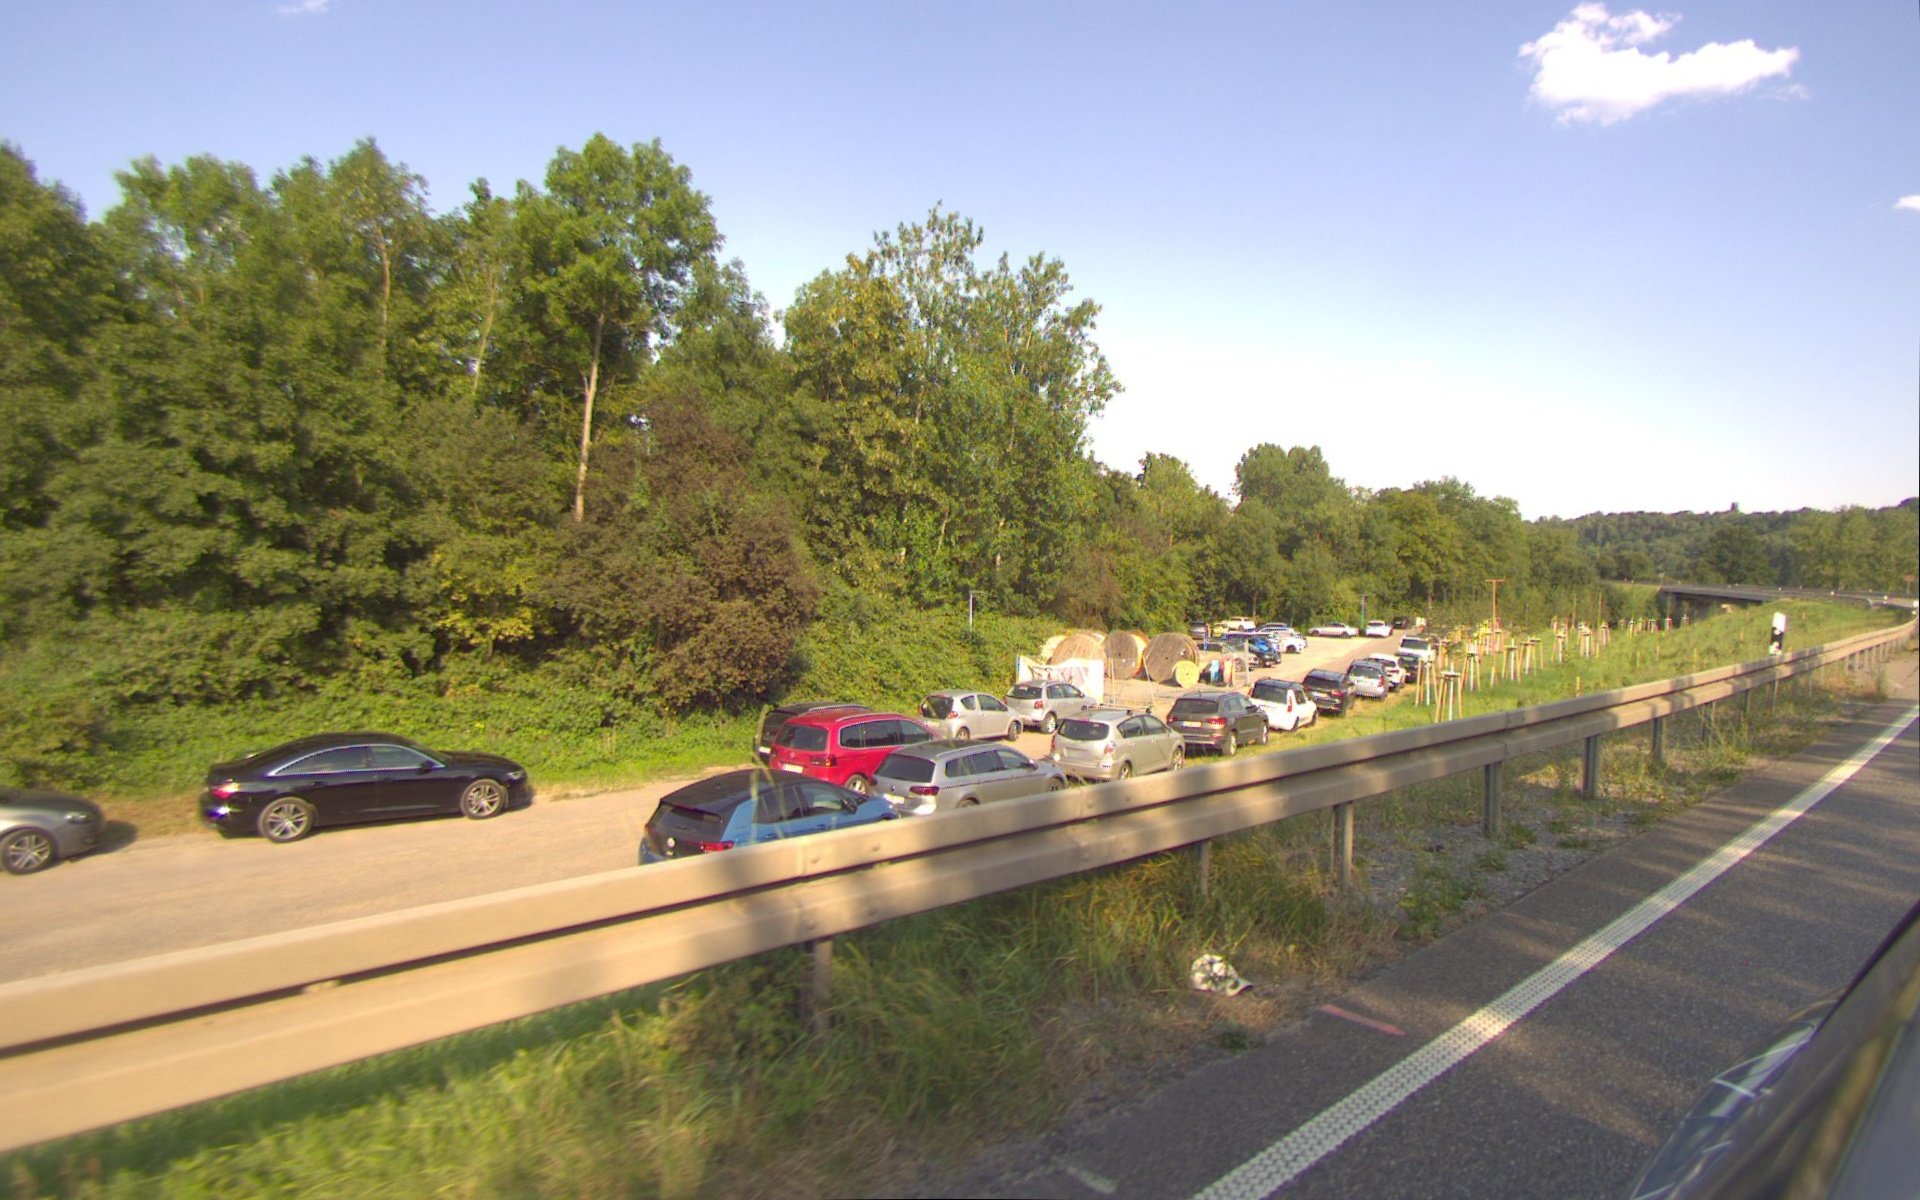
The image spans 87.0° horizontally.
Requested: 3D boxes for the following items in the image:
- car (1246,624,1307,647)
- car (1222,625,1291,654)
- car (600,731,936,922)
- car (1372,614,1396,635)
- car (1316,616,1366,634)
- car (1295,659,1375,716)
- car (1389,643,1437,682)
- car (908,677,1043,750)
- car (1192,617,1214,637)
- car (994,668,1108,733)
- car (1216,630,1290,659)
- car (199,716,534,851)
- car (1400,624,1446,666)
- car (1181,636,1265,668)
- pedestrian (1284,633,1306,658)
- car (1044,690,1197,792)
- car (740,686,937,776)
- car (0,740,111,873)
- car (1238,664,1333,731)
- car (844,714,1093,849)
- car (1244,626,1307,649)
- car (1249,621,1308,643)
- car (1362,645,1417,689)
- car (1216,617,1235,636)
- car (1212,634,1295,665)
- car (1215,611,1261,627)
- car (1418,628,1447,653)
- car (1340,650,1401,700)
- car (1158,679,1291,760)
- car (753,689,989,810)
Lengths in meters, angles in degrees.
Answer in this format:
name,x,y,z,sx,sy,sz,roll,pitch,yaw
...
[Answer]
name,x,y,z,sx,sy,sz,roll,pitch,yaw
car,23.305,2.598,74.515,4.197,1.474,1.606,0,1,22
car,19.561,2.599,66.848,4.199,1.764,1.819,0,0,23
car,-2.582,3.071,14.746,1.888,1.578,4.718,6,3,36
car,41.028,2.324,97.947,1.645,1.687,4.662,2,2,28
car,35.568,2.319,94.497,4.209,1.474,1.601,3,1,28
car,14.124,3.221,37.978,1.884,1.578,4.730,5,2,31
car,23.377,3.172,52.090,1.881,1.500,4.736,5,2,27
car,0.499,3.113,28.421,1.700,1.415,3.888,5,4,40
car,20.605,2.256,85.677,1.595,1.474,4.224,2,1,17
car,2.904,3.071,31.611,1.698,1.528,3.891,2,2,38
car,18.322,2.759,63.339,4.207,1.624,1.816,0,1,28
car,-9.926,2.969,17.157,4.698,1.415,1.706,0,4,-39
car,27.584,2.630,60.184,2.107,2.042,5.327,5,2,27
car,14.572,2.840,56.114,4.209,1.508,1.815,1,1,29
pedestrian,21.044,2.854,63.578,0.870,1.489,0.923,2,2,-28
car,3.837,3.137,23.469,1.883,1.579,4.730,1,1,31
car,-2.815,3.056,24.330,1.702,1.415,4.710,5,4,43
car,-14.116,2.882,13.633,4.029,1.415,1.705,2,3,-42
car,10.719,3.109,33.091,1.884,1.578,4.730,5,2,31
car,0.290,3.208,18.755,1.892,1.578,4.709,6,3,42
car,22.437,2.636,71.946,4.199,1.517,1.758,0,0,23
car,25.059,2.502,79.749,4.358,1.474,1.724,1,0,19
car,20.190,3.094,47.466,1.881,1.578,4.736,5,2,27
car,22.995,2.262,87.651,1.479,1.474,3.656,2,1,17
car,16.763,2.807,57.908,4.233,1.509,1.804,1,-1,44
car,28.126,1.930,102.381,4.218,1.474,1.692,2,1,34
car,35.026,2.964,75.085,1.804,1.500,4.360,3,2,24
car,17.414,3.100,42.803,1.881,1.578,4.736,5,2,27
car,7.385,3.182,27.883,1.888,1.579,4.718,1,1,37
car,-1.666,2.920,20.786,1.888,1.708,5.016,3,1,38
